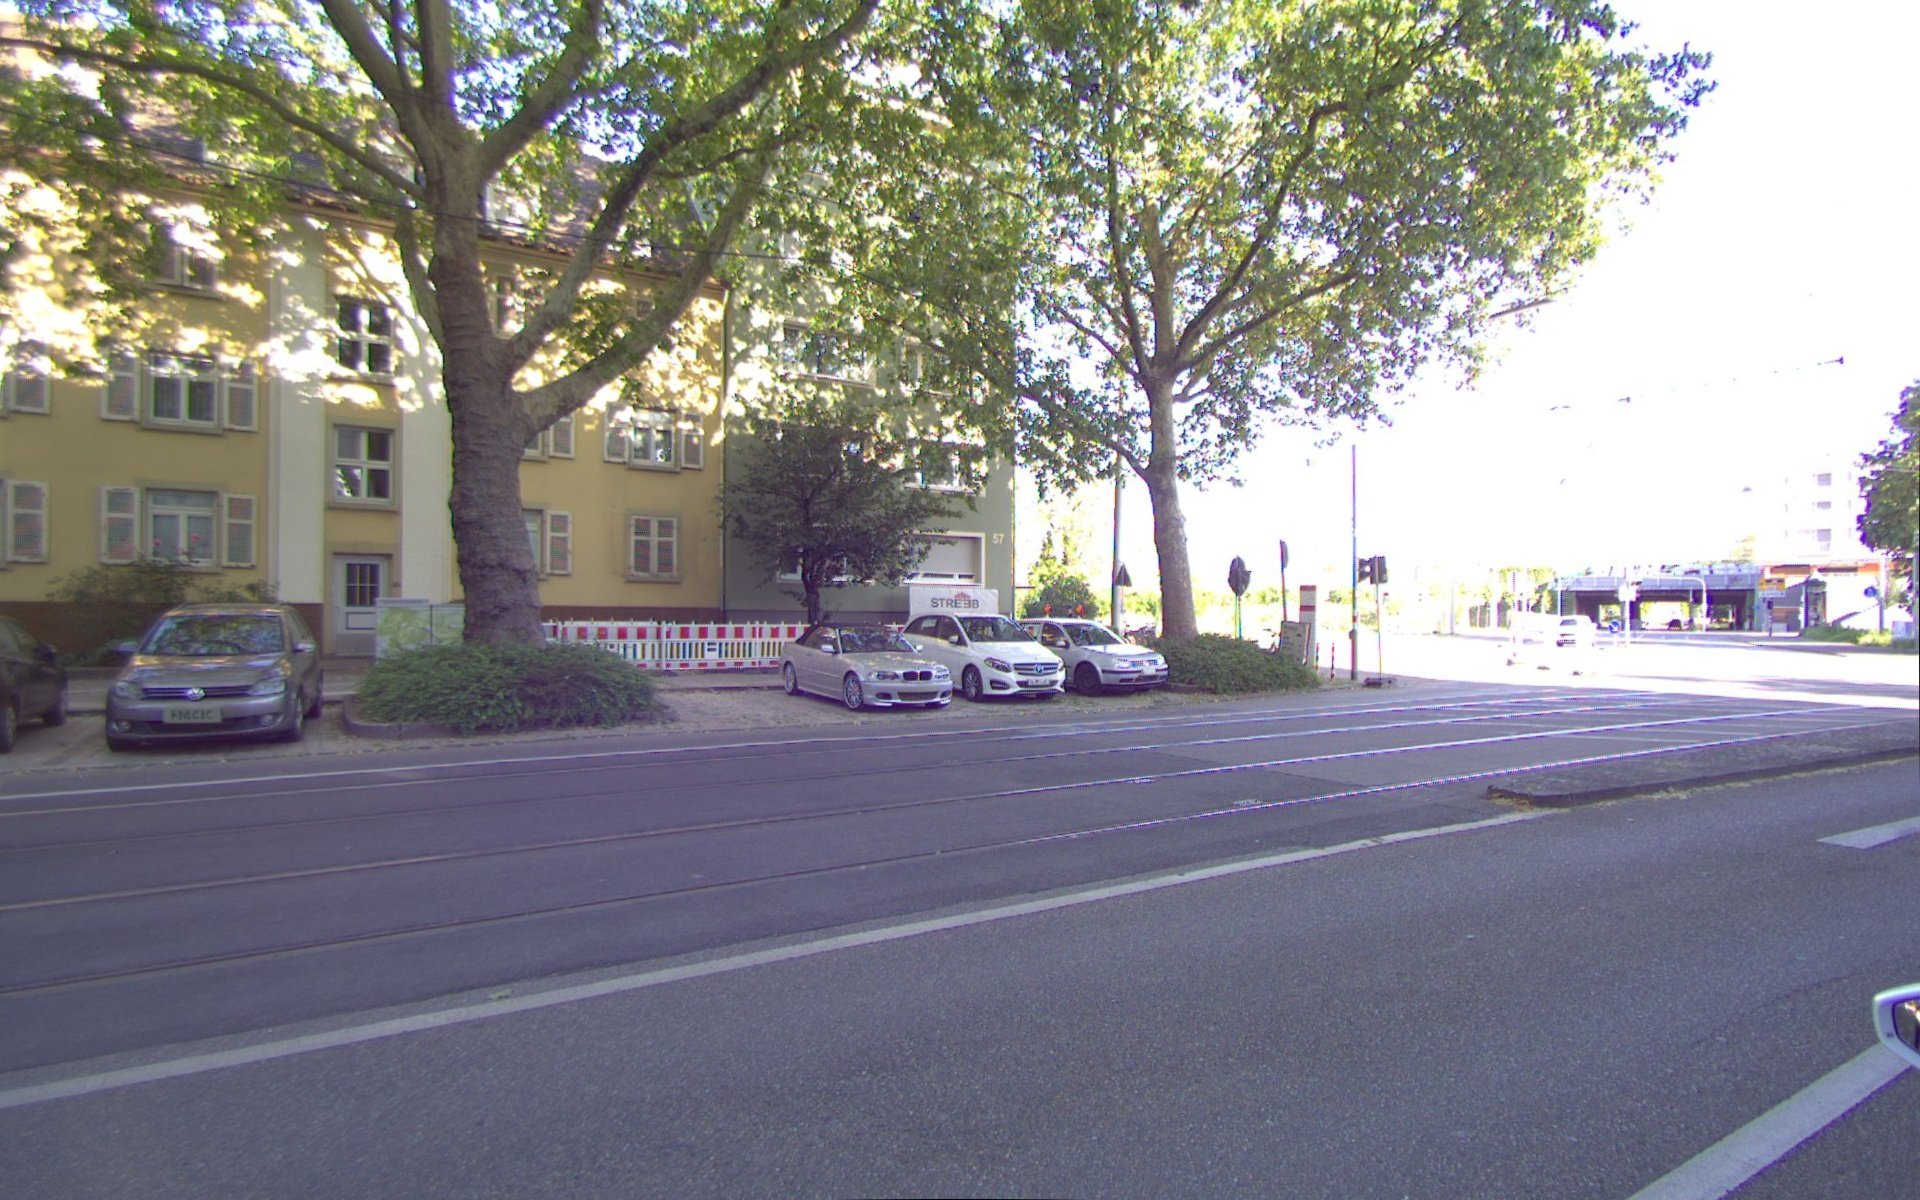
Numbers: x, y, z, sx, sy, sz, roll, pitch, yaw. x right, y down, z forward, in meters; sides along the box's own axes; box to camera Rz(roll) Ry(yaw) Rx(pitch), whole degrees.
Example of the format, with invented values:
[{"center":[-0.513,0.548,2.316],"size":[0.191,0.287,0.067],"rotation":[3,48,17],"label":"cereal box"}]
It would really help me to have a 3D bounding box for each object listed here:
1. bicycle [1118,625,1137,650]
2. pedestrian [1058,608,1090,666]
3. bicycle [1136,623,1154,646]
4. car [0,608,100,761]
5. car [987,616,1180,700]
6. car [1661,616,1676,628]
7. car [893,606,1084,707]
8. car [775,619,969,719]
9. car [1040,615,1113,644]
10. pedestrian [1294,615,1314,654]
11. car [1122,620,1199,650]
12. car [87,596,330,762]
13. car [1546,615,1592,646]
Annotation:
[{"center":[5.403,1.186,32.372],"size":[0.351,0.769,1.781],"rotation":[0,-1,18],"label":"bicycle"},{"center":[3.180,1.015,27.989],"size":[0.592,1.589,0.741],"rotation":[0,0,33],"label":"pedestrian"},{"center":[6.347,1.172,34.498],"size":[0.351,0.769,1.781],"rotation":[0,-1,1],"label":"bicycle"},{"center":[-11.397,0.867,11.429],"size":[1.673,1.466,3.834],"rotation":[2,0,-29],"label":"car"},{"center":[2.422,1.120,20.568],"size":[1.688,1.436,3.960],"rotation":[2,0,-36],"label":"car"},{"center":[123.691,3.819,175.469],"size":[1.966,2.040,3.989],"rotation":[2,0,34],"label":"car"},{"center":[0.421,0.988,19.186],"size":[1.822,1.633,4.052],"rotation":[2,0,-29],"label":"car"},{"center":[-1.643,1.091,17.295],"size":[1.822,1.387,4.052],"rotation":[2,0,-29],"label":"car"},{"center":[7.061,1.759,61.054],"size":[3.933,1.439,1.887],"rotation":[0,5,35],"label":"car"},{"center":[14.416,1.451,42.123],"size":[0.591,1.617,0.682],"rotation":[2,0,35],"label":"pedestrian"},{"center":[11.506,1.982,57.729],"size":[3.933,1.439,1.887],"rotation":[0,5,35],"label":"car"},{"center":[-8.961,0.817,12.341],"size":[1.822,1.641,4.052],"rotation":[2,0,-29],"label":"car"},{"center":[33.631,1.639,55.605],"size":[1.964,1.653,4.623],"rotation":[0,-1,29],"label":"car"}]
